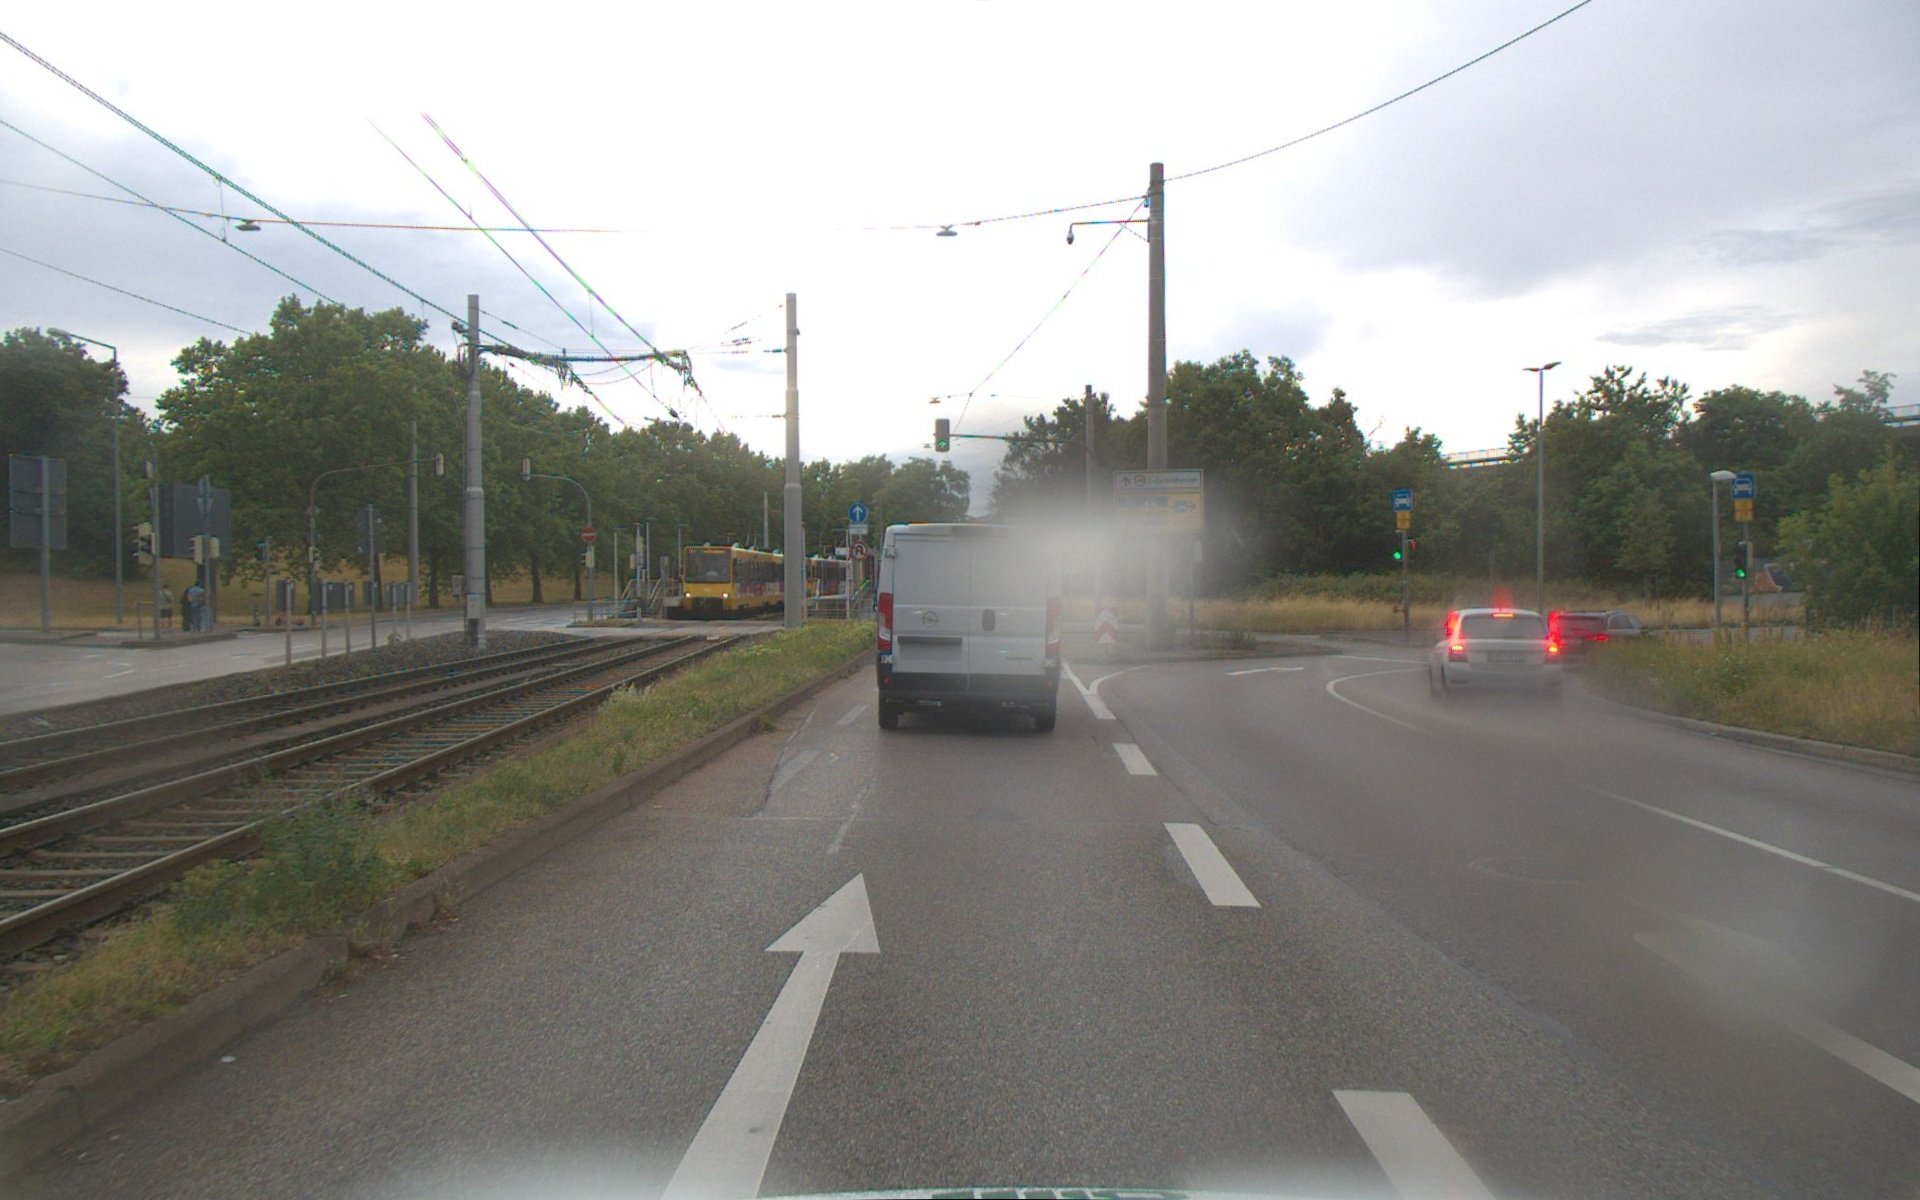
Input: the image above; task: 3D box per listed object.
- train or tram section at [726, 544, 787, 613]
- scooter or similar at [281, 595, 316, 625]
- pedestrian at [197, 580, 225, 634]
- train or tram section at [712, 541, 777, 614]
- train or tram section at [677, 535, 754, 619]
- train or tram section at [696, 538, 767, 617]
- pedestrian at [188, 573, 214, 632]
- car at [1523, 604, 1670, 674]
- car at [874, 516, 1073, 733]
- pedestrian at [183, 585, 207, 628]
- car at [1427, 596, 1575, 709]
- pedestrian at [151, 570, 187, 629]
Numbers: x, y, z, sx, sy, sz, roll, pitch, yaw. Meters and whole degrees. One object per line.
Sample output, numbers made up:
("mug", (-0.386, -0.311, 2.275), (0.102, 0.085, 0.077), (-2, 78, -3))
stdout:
("train or tram section", (-12.557, -1.321, 102.567), (2.869, 4.001, 7.004), (2, 0, -1))
("scooter or similar", (-26.776, 0.386, 66.995), (0.373, 1.182, 1.272), (0, 1, 42))
("pedestrian", (-25.553, 0.226, 56.433), (0.496, 1.818, 0.832), (2, 0, 2))
("train or tram section", (-12.478, -1.265, 96.253), (2.869, 4.001, 7.004), (2, 0, -1))
("train or tram section", (-12.257, -1.150, 83.562), (2.869, 4.001, 7.004), (2, 0, -1))
("train or tram section", (-12.376, -1.209, 90.008), (2.869, 4.001, 7.004), (2, 0, -1))
("pedestrian", (-25.959, 0.080, 56.558), (0.485, 1.989, 0.722), (2, 0, 1))
("car", (15.179, 0.915, 39.350), (1.879, 1.562, 3.973), (-3, -2, 43))
("car", (0.024, 0.218, 19.885), (2.049, 2.234, 5.059), (1, 1, -3))
("pedestrian", (-27.030, 0.239, 58.472), (0.485, 1.499, 0.722), (2, 0, -1))
("car", (7.992, 0.719, 24.708), (1.709, 1.483, 3.674), (1, 1, 12))
("pedestrian", (-27.780, -0.024, 58.098), (0.870, 2.049, 0.864), (-1, 0, -8))
